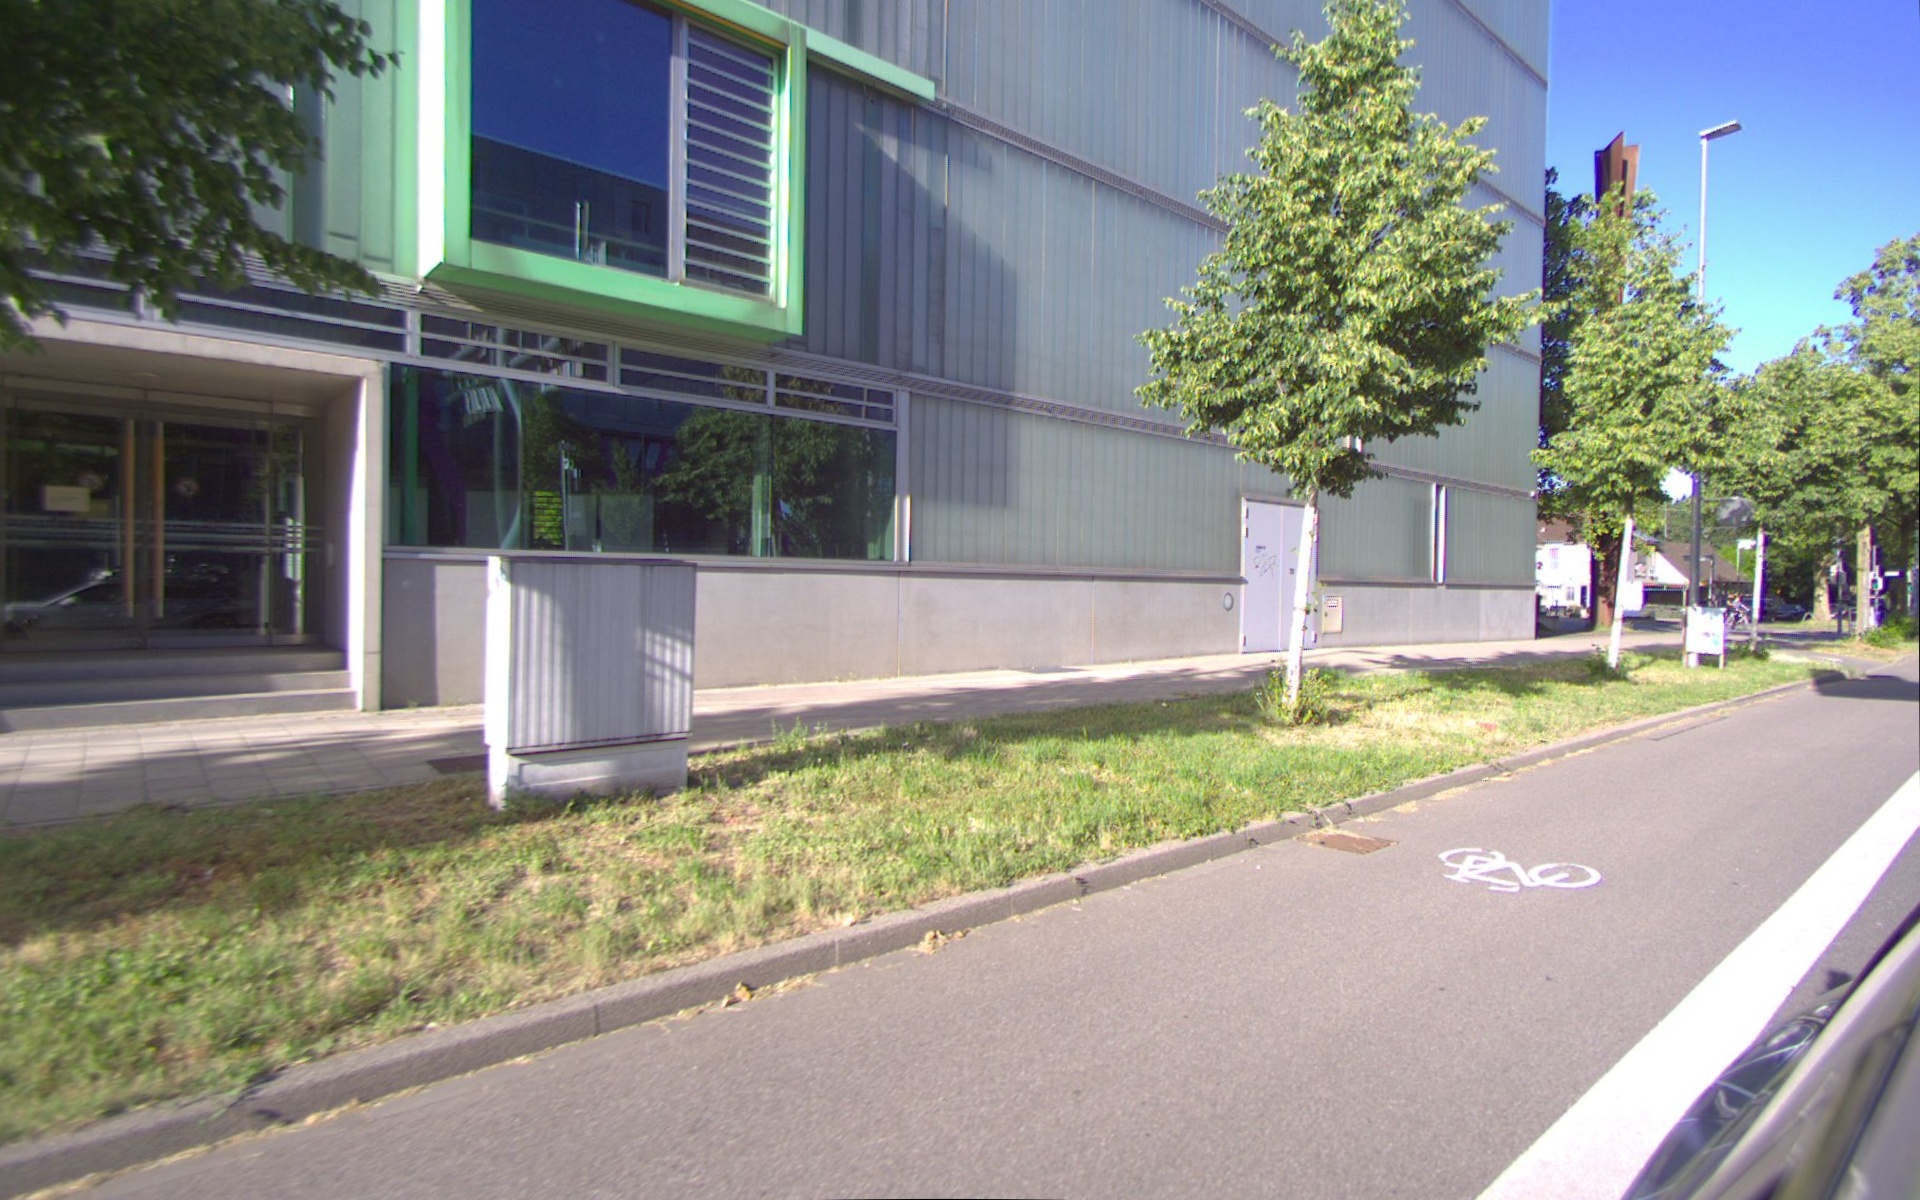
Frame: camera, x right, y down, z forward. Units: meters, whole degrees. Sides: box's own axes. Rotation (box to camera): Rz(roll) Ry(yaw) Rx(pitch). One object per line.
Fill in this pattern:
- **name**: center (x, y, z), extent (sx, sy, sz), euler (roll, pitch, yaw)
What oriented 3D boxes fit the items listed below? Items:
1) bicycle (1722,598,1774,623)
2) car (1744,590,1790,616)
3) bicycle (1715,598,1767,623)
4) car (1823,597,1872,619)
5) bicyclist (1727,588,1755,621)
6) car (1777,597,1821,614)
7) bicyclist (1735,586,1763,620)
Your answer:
- **bicycle**: center (41.374, 0.526, 53.165), extent (0.540, 1.219, 2.107), euler (1, 1, -28)
- **car**: center (68.983, 0.226, 86.483), extent (4.978, 2.062, 1.899), euler (0, 2, -38)
- **bicycle**: center (40.604, 0.526, 52.657), extent (0.540, 1.219, 2.108), euler (1, 1, -25)
- **car**: center (62.295, 0.512, 71.019), extent (3.963, 1.484, 1.899), euler (0, 0, -38)
- **bicyclist**: center (40.610, 0.209, 52.623), extent (0.777, 1.674, 0.878), euler (1, 0, -29)
- **car**: center (76.635, 0.456, 92.398), extent (4.820, 1.504, 1.900), euler (0, 0, -35)
- **bicyclist**: center (41.398, 0.162, 53.084), extent (0.815, 1.759, 0.878), euler (1, 0, -29)
